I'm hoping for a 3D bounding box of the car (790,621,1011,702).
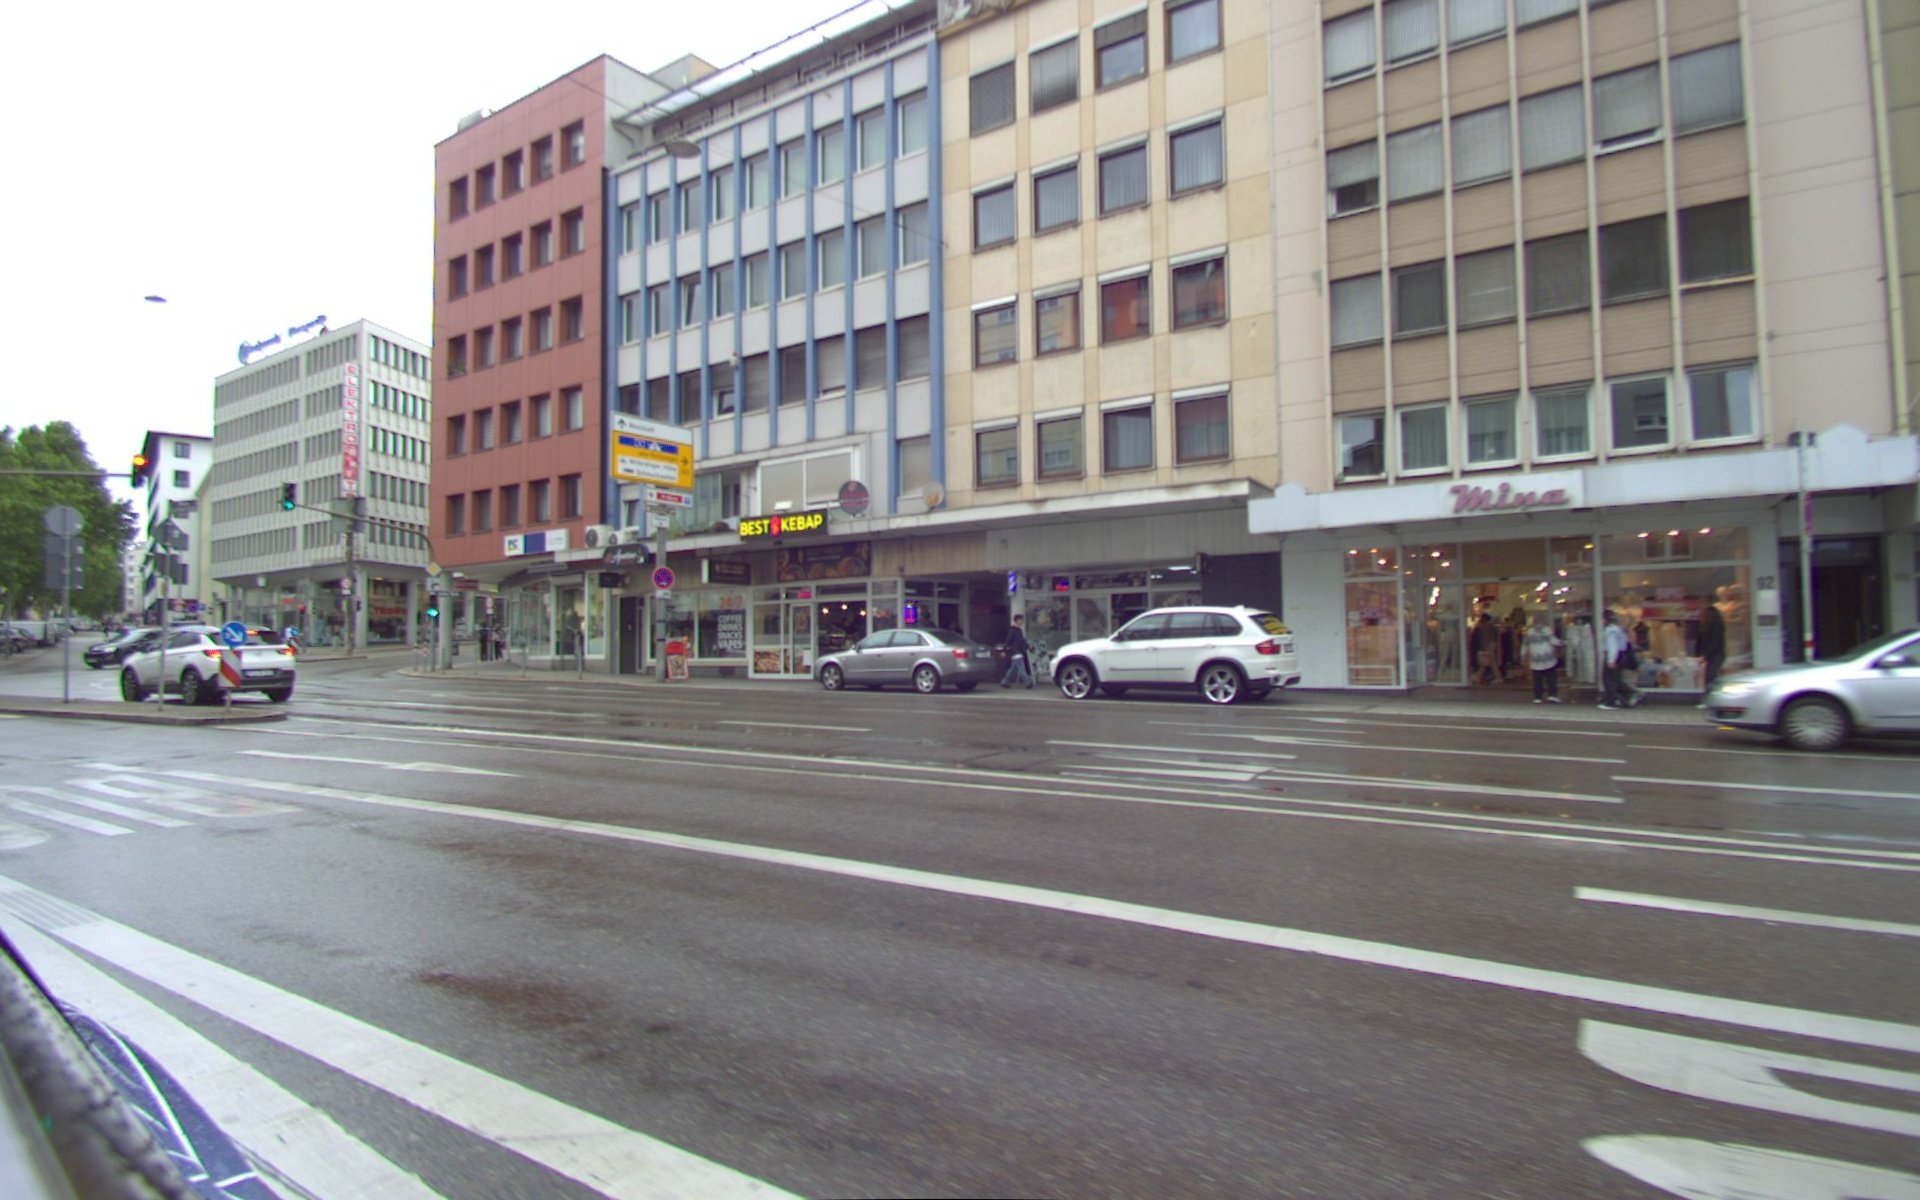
[{"bbox_3d":[-1.419,1.336,22.759,4.869,1.621,1.849,-2,-2,35],"label":"car"}]

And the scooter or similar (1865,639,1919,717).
[{"bbox_3d":[13.554,1.106,14.504,0.699,1.062,0.730,-3,-2,32],"label":"scooter or similar"}]

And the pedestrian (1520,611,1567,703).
[{"bbox_3d":[10.400,1.003,18.041,0.642,1.586,0.605,-2,-2,34],"label":"pedestrian"}]

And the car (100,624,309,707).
[{"bbox_3d":[-16.192,1.402,21.665,4.409,1.563,1.980,-3,-1,29],"label":"car"}]

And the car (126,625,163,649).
[{"bbox_3d":[-61.620,2.789,76.458,1.905,1.684,4.450,-1,-2,-43],"label":"car"}]

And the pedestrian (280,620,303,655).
[{"bbox_3d":[-39.111,2.179,59.239,0.979,2.029,0.948,1,-2,-41],"label":"pedestrian"}]

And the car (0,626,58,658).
[{"bbox_3d":[-70.206,3.131,75.595,3.770,2.282,1.992,-1,0,-26],"label":"car"}]

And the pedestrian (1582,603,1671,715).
[{"bbox_3d":[10.724,0.932,16.324,1.087,1.727,0.944,-3,-2,32],"label":"pedestrian"}]

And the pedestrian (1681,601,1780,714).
[{"bbox_3d":[12.176,0.902,16.039,1.083,1.708,0.944,-3,-2,32],"label":"pedestrian"}]

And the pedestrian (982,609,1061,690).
[{"bbox_3d":[1.378,1.106,22.598,1.414,1.731,0.944,-3,-2,33],"label":"pedestrian"}]

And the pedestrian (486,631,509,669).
[{"bbox_3d":[-22.396,2.416,48.964,0.724,1.761,0.698,-2,-1,5],"label":"pedestrian"}]

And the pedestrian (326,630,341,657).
[{"bbox_3d":[-38.388,2.679,61.973,0.703,1.635,0.725,1,-2,-38],"label":"pedestrian"}]

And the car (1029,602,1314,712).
[{"bbox_3d":[3.898,1.042,19.131,4.952,1.841,1.833,-2,-2,35],"label":"car"}]

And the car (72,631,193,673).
[{"bbox_3d":[-37.305,2.312,45.747,1.976,1.696,3.991,-1,-1,7],"label":"car"}]

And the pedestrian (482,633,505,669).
[{"bbox_3d":[-21.656,2.359,46.988,0.686,1.642,0.731,-2,-1,7],"label":"pedestrian"}]

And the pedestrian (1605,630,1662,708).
[{"bbox_3d":[11.277,1.152,16.954,0.718,1.259,0.530,-3,-2,33],"label":"pedestrian"}]

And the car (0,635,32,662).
[{"bbox_3d":[-59.294,2.987,61.955,3.490,1.571,1.743,-1,0,-40],"label":"car"}]

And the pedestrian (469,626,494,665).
[{"bbox_3d":[-22.621,2.141,47.844,0.724,1.761,0.742,-2,-1,5],"label":"pedestrian"}]

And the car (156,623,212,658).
[{"bbox_3d":[-50.177,2.652,65.380,4.613,2.107,2.068,-3,-2,42],"label":"car"}]

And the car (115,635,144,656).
[{"bbox_3d":[-79.212,4.357,96.504,1.996,1.855,4.050,-1,-2,-41],"label":"car"}]

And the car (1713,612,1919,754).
[{"bbox_3d":[11.066,0.851,10.780,4.742,1.457,1.770,-2,-2,34],"label":"car"}]

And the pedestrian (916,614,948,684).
[{"bbox_3d":[-0.699,1.212,25.307,0.582,1.721,0.442,-3,-2,35],"label":"pedestrian"}]
